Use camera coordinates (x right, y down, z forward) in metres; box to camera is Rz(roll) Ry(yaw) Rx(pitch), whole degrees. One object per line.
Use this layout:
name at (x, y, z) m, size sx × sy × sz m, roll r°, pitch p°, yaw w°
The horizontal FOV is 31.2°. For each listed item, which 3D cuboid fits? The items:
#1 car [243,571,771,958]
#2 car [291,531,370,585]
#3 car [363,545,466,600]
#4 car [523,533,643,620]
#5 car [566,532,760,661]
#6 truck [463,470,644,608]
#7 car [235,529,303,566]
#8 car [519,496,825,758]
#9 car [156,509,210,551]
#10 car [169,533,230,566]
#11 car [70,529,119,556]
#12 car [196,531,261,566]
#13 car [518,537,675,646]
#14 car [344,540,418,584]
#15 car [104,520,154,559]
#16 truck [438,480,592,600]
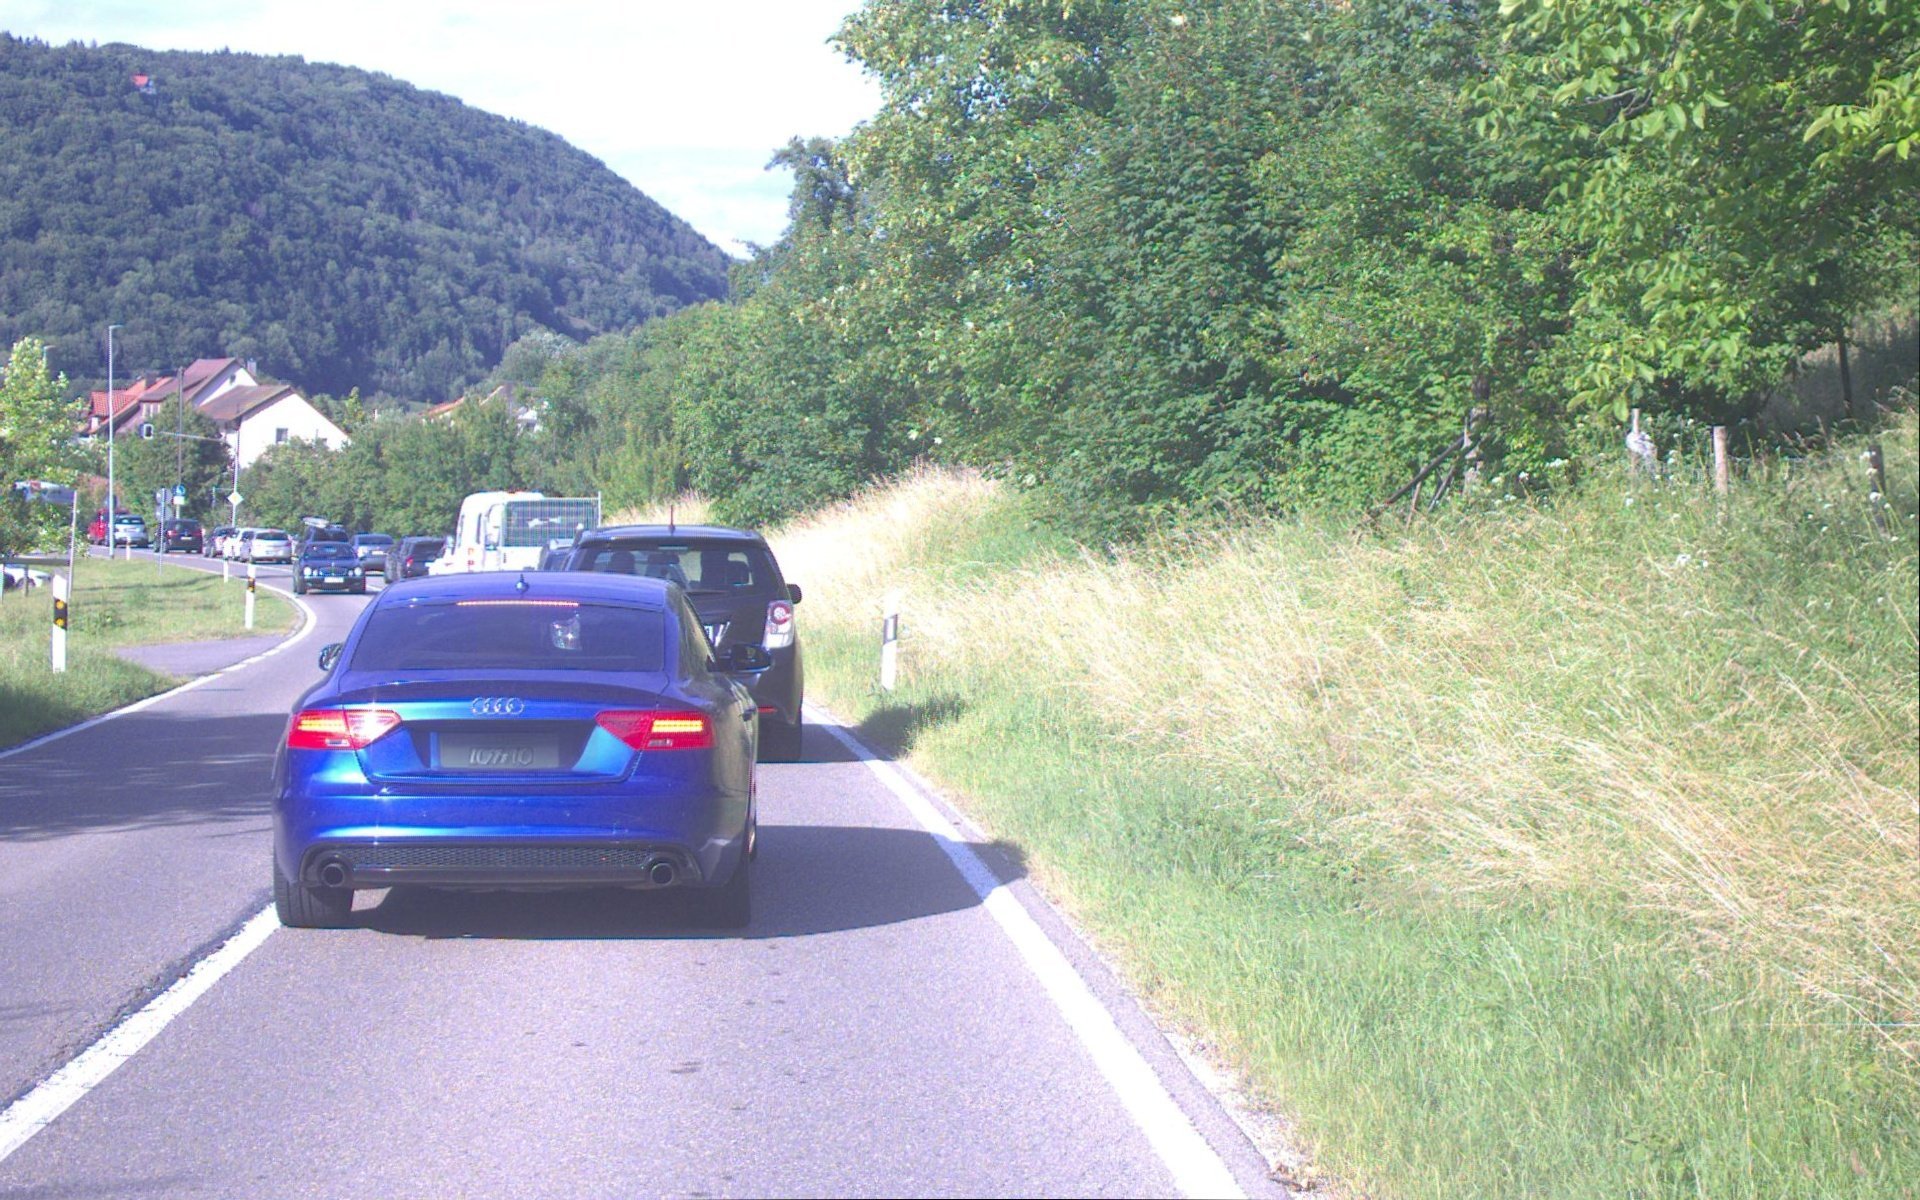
car at (-1.731, 0.572, 14.319) m, size 1.793 × 1.355 × 4.000 m, roll 0°, pitch 1°, yaw -2°
car at (-16.581, -1.095, 90.634) m, size 1.993 × 1.371 × 4.001 m, roll 1°, pitch 1°, yaw -10°
car at (-15.116, -0.765, 95.105) m, size 1.993 × 1.477 × 4.001 m, roll 1°, pitch 1°, yaw -21°
car at (-6.780, -0.422, 61.587) m, size 1.993 × 1.477 × 4.001 m, roll 1°, pitch 1°, yaw -8°
car at (-3.463, -0.058, 39.435) m, size 1.993 × 1.382 × 4.001 m, roll 1°, pitch 1°, yaw -8°
truck at (-8.663, -1.278, 72.261) m, size 2.863 × 2.656 × 10.396 m, roll 1°, pitch 1°, yaw -12°
car at (-28.805, -2.177, 143.223) m, size 1.993 × 1.477 × 4.001 m, roll 1°, pitch 1°, yaw -23°
car at (-1.996, 0.160, 24.623) m, size 1.993 × 1.696 × 4.000 m, roll 1°, pitch 0°, yaw -3°
car at (-38.597, -3.464, 170.764) m, size 1.993 × 2.007 × 4.001 m, roll 1°, pitch 1°, yaw -22°
car at (-35.048, -2.346, 158.386) m, size 1.993 × 1.477 × 4.001 m, roll 1°, pitch 1°, yaw -23°
car at (-47.828, -3.173, 189.994) m, size 1.993 × 1.477 × 4.001 m, roll 1°, pitch 1°, yaw -23°
car at (-31.844, -2.249, 149.583) m, size 1.993 × 1.477 × 4.001 m, roll 1°, pitch 1°, yaw -23°
car at (-5.277, -0.135, 49.469) m, size 1.993 × 1.477 × 4.001 m, roll 1°, pitch 1°, yaw -10°
car at (-20.188, -1.334, 119.720) m, size 1.993 × 1.477 × 4.001 m, roll 1°, pitch 1°, yaw -17°
car at (-43.906, -3.195, 181.615) m, size 1.993 × 2.007 × 4.001 m, roll 1°, pitch 1°, yaw -22°
truck at (-10.810, -1.443, 82.634) m, size 2.863 × 2.656 × 10.648 m, roll 1°, pitch 1°, yaw -12°
